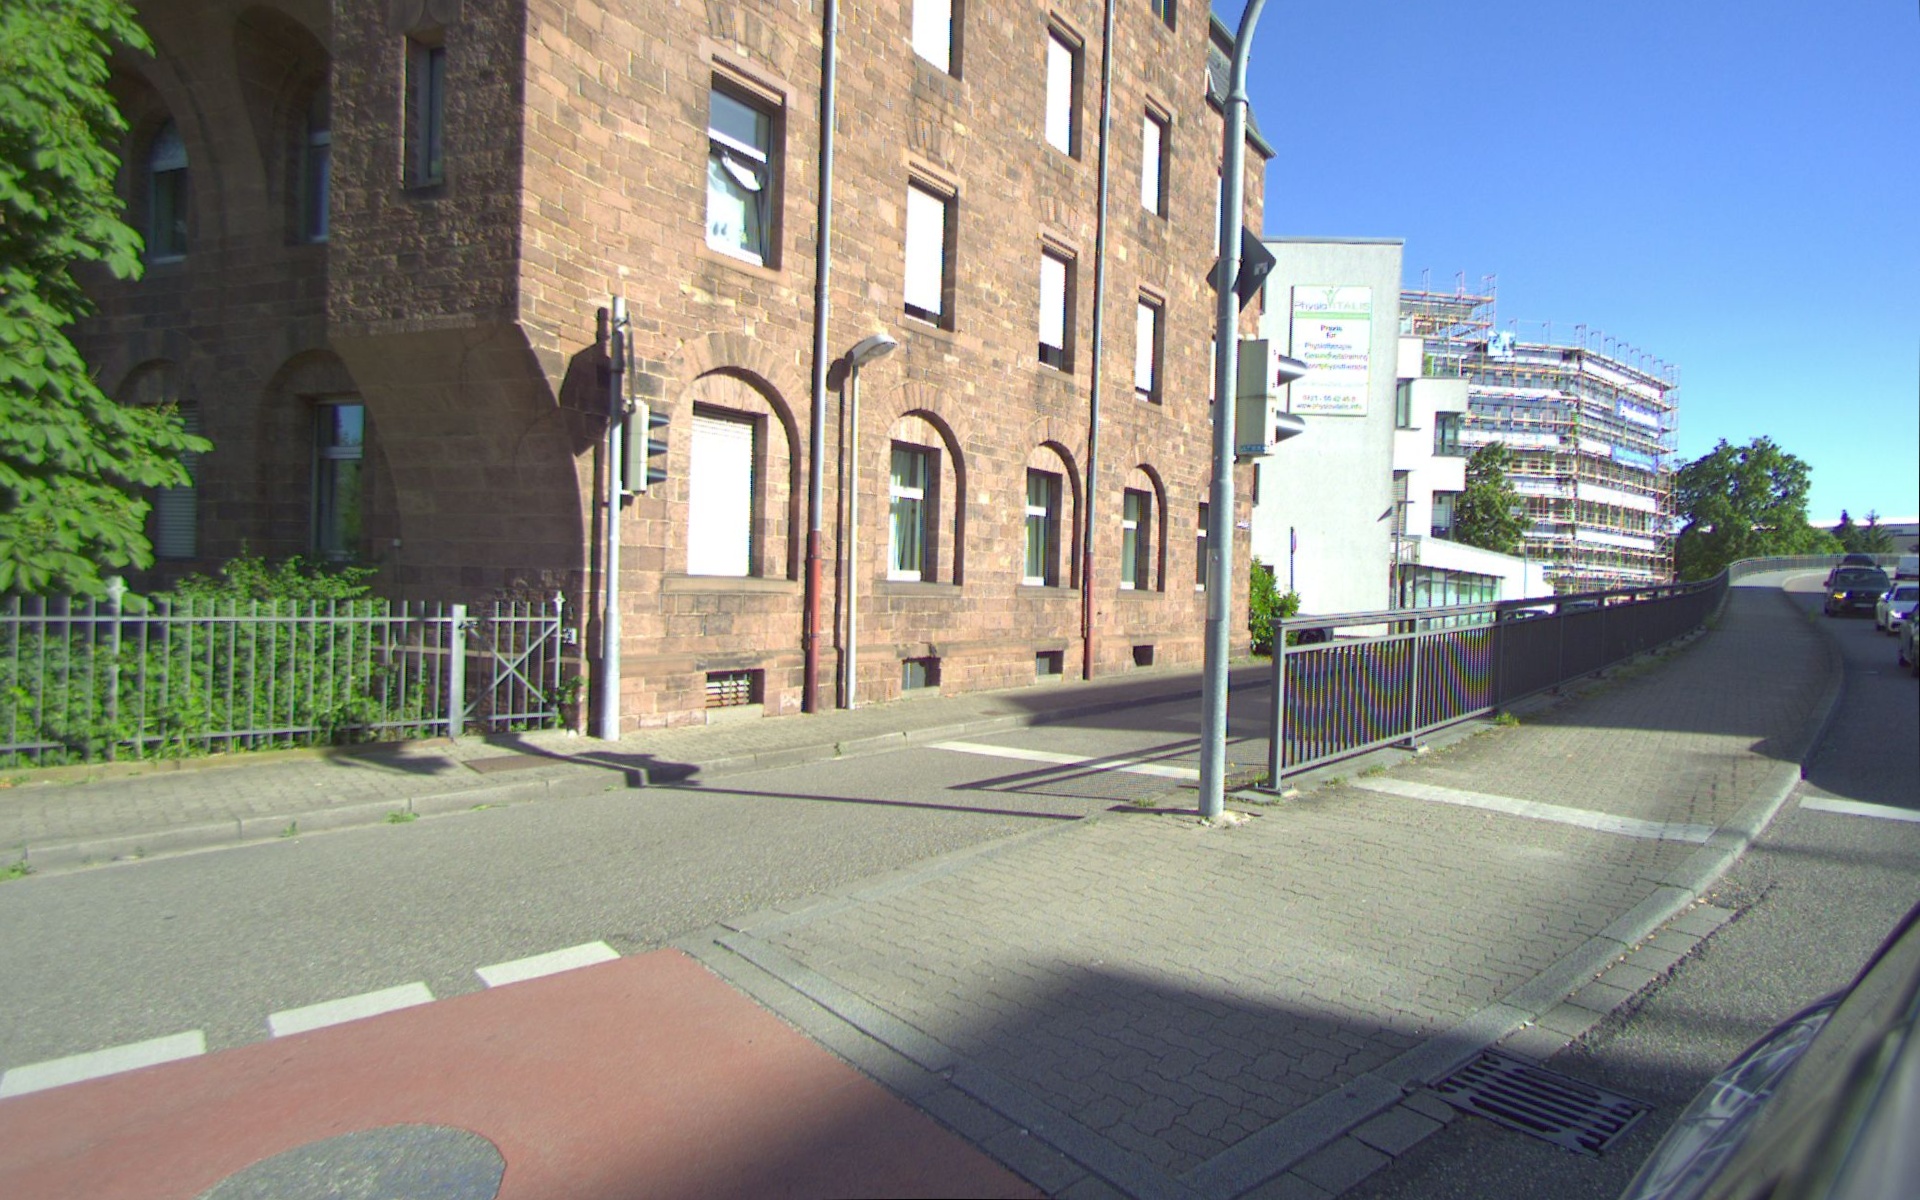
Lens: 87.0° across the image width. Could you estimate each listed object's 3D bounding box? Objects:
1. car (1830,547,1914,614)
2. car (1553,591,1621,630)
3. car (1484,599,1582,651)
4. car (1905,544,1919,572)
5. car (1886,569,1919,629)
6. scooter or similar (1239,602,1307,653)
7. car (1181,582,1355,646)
[{"bbox_3d":[33.419,-0.778,37.176,1.901,2.240,4.538,1,3,38],"label":"car"},{"bbox_3d":[27.522,0.436,44.371,1.844,1.554,3.940,3,2,41],"label":"car"},{"bbox_3d":[19.018,0.774,33.512,1.844,1.448,4.611,1,2,42],"label":"car"},{"bbox_3d":[70.632,-3.049,74.208,1.810,1.824,5.042,3,2,42],"label":"car"},{"bbox_3d":[27.102,-0.060,28.027,1.841,1.554,4.445,1,2,39],"label":"car"},{"bbox_3d":[7.776,0.673,25.164,1.453,1.234,0.775,-1,-1,35],"label":"scooter or similar"},{"bbox_3d":[8.983,0.392,29.843,4.562,1.789,1.828,0,2,2],"label":"car"}]
